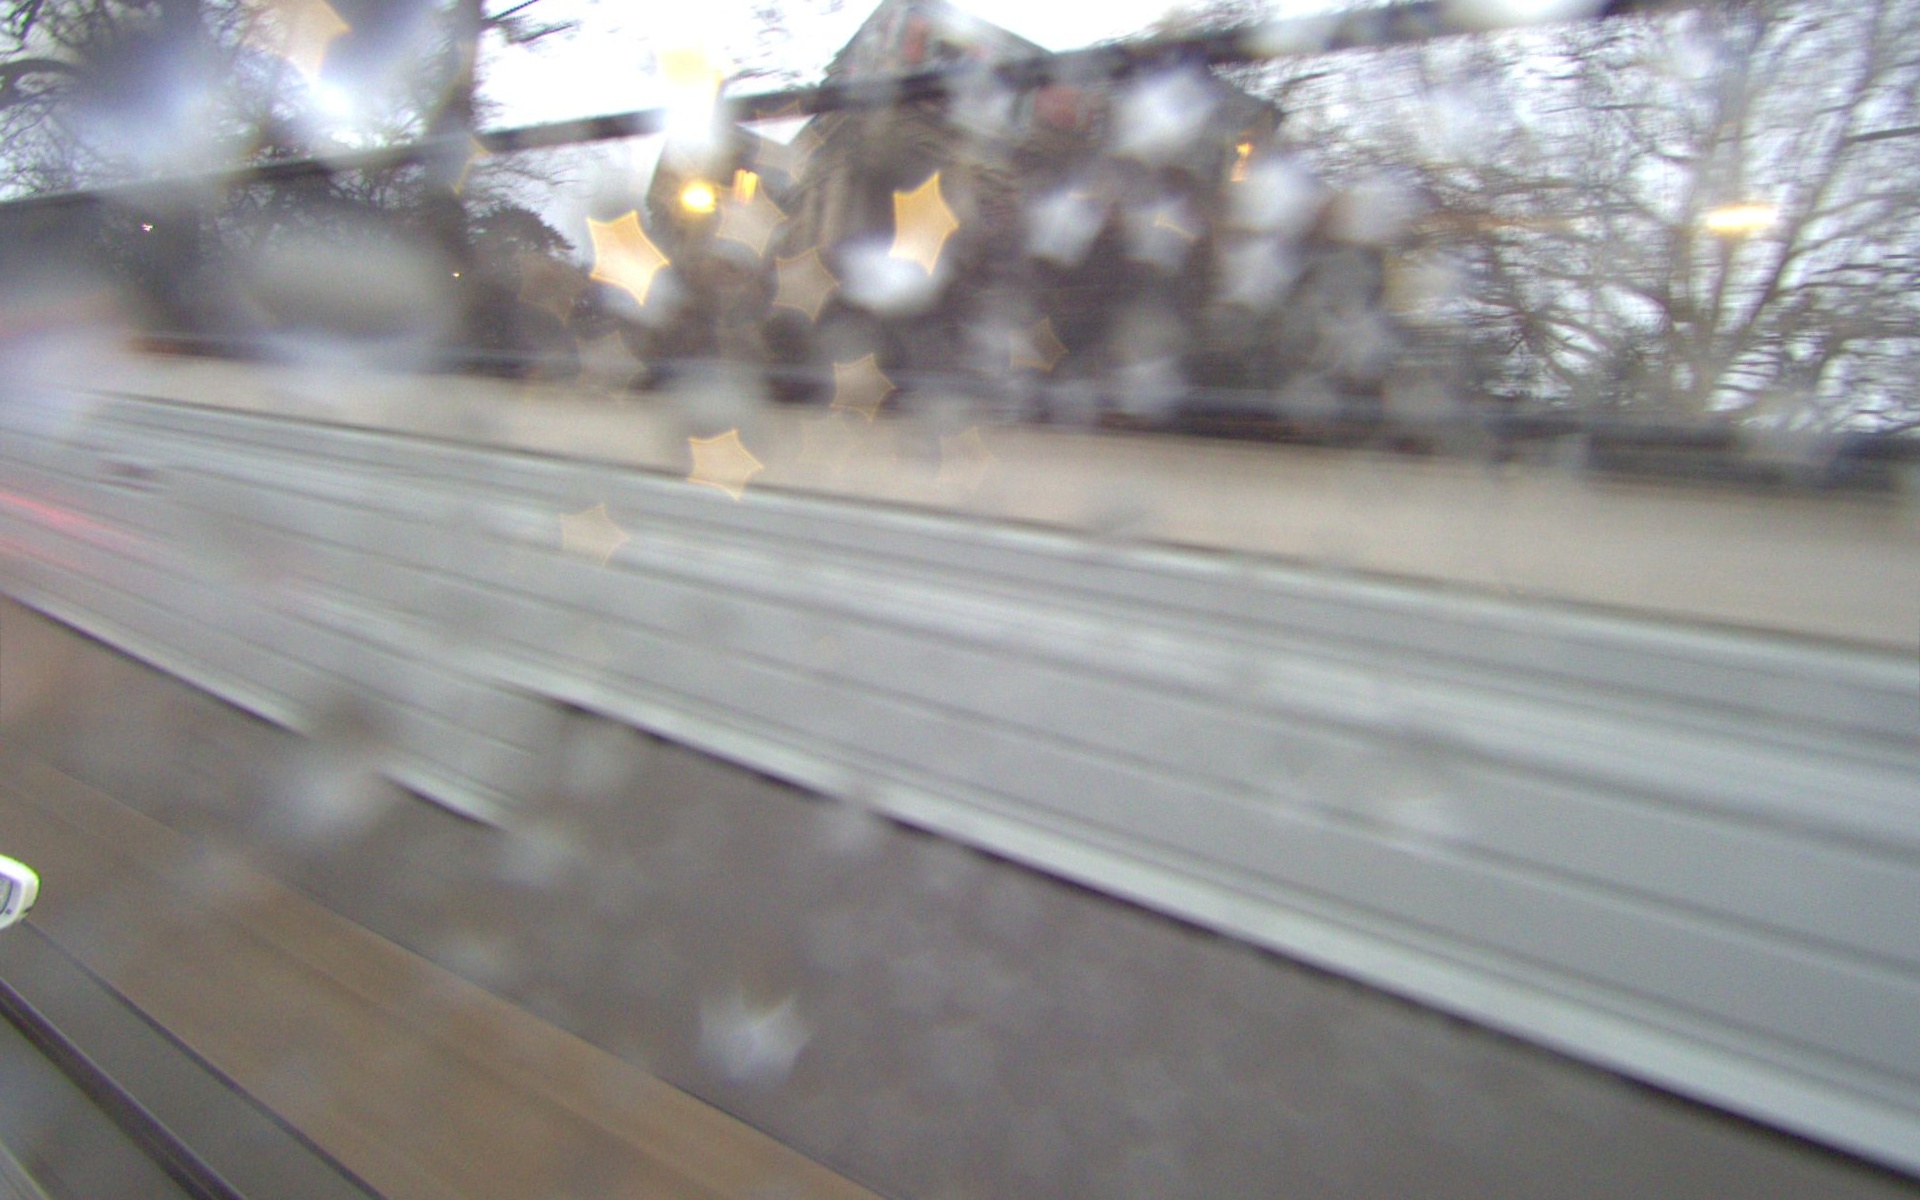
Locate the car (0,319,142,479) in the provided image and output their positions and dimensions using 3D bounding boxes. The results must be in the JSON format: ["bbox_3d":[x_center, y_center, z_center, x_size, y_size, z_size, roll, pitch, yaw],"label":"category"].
[{"bbox_3d":[-12.099,-2.596,12.559,3.935,1.496,1.725,10,-1,34],"label":"car"}]
